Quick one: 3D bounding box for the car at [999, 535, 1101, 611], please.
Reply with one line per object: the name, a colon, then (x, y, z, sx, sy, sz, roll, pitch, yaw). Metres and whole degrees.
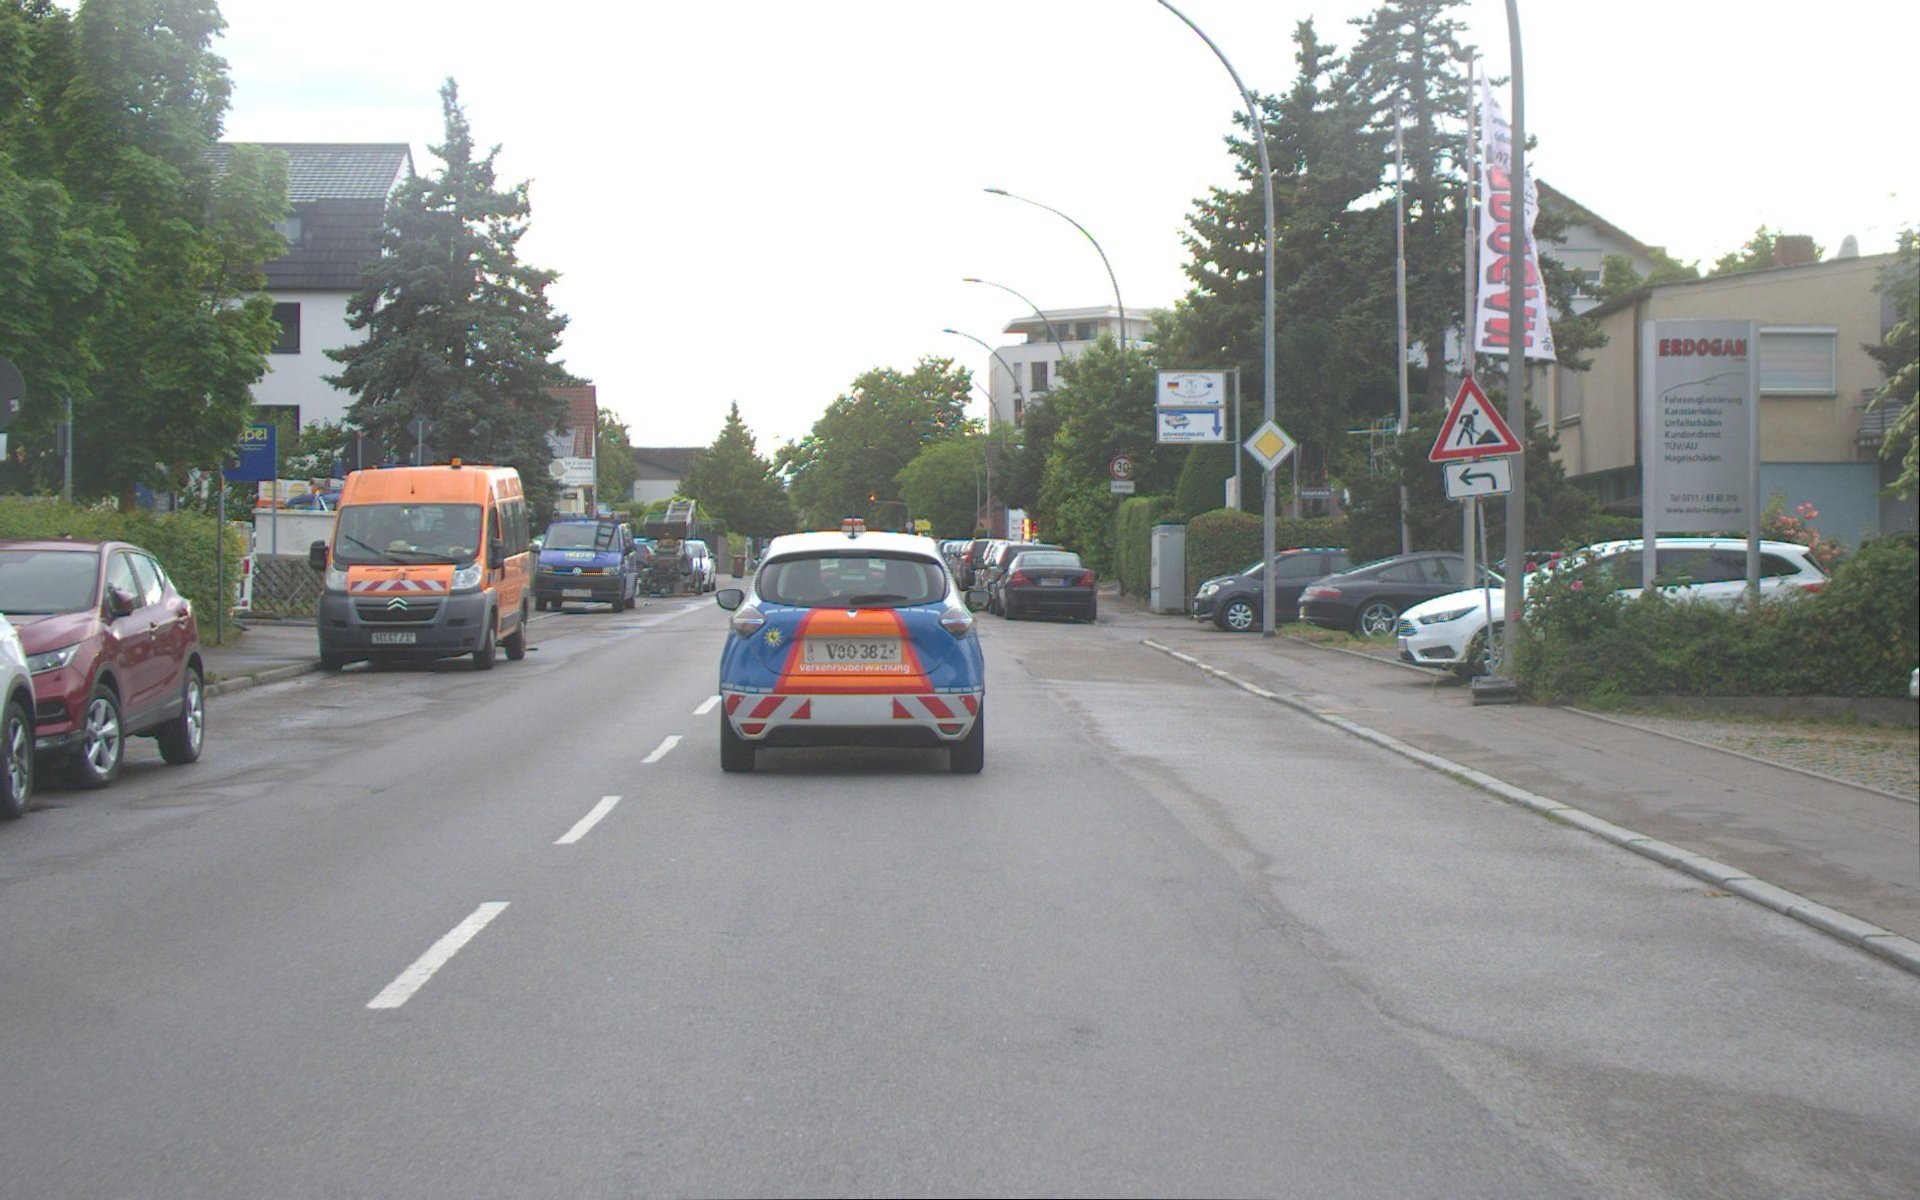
car: (1.685, -0.538, 65.494, 1.589, 1.336, 4.093, 2, 1, -3)

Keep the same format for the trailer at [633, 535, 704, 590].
trailer: (-7.796, -1.032, 92.368, 1.717, 1.256, 5.245, 2, 3, -3)

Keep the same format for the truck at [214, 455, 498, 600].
truck: (-13.571, -1.613, 77.482, 5.911, 3.063, 2.450, 1, 0, 0)

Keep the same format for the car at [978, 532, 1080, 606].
car: (1.381, -0.645, 70.528, 1.656, 1.414, 4.778, 1, 1, -4)

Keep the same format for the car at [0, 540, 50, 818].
car: (-6.071, 0.459, 17.751, 1.772, 1.493, 4.137, 0, 2, -2)

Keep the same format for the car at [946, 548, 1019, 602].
car: (0.612, -0.721, 97.291, 1.711, 1.433, 4.527, 1, 1, -4)

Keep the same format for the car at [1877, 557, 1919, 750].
car: (9.110, 0.440, 24.825, 4.415, 1.388, 1.880, 1, 0, -2)

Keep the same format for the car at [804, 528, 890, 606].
car: (-2.347, -0.671, 70.651, 1.650, 1.516, 4.001, 1, 1, -3)

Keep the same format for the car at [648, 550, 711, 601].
car: (-8.124, -0.713, 99.850, 1.557, 1.428, 4.000, 1, 1, -1)

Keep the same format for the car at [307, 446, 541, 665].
car: (-6.625, -0.584, 43.160, 2.124, 2.529, 6.023, -1, 1, -2)

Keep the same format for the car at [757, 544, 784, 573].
car: (-9.835, -2.173, 178.383, 1.386, 1.478, 3.784, 0, 1, -3)

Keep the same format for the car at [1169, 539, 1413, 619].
car: (5.770, -0.372, 60.185, 3.986, 1.262, 1.951, 1, 0, -3)

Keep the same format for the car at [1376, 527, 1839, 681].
car: (6.598, 0.033, 35.335, 4.337, 1.470, 1.903, 1, 0, -2)

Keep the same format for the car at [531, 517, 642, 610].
car: (-8.064, -0.788, 74.625, 1.993, 1.940, 5.366, 1, 0, -2)

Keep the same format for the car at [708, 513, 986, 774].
car: (-0.768, 0.253, 23.252, 1.731, 1.625, 3.495, 0, 1, -2)

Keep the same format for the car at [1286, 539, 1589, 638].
car: (6.700, -0.169, 48.521, 3.987, 1.262, 1.951, 2, 0, 1)

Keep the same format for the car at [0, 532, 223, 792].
car: (-6.262, 0.338, 23.117, 1.805, 1.568, 4.343, 0, 1, -2)
